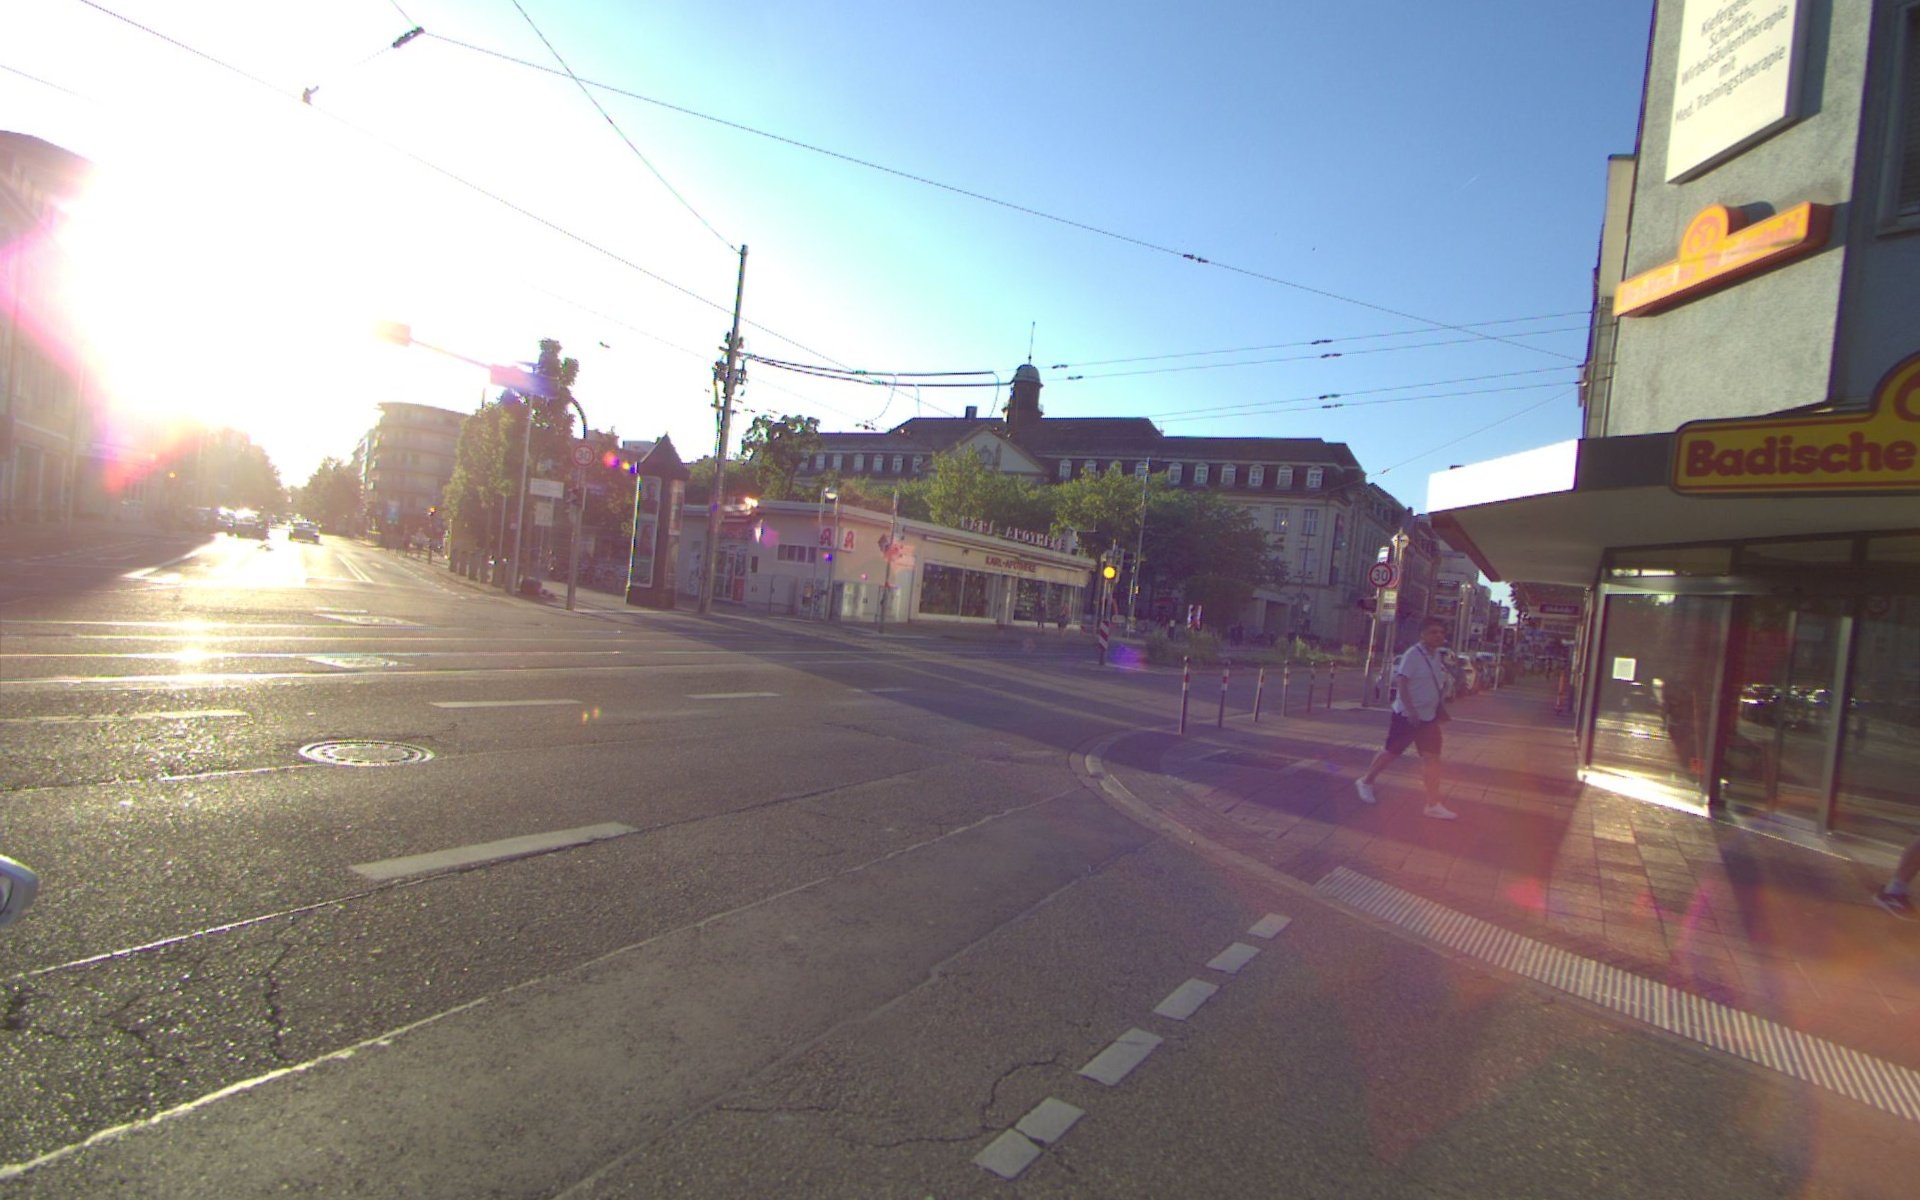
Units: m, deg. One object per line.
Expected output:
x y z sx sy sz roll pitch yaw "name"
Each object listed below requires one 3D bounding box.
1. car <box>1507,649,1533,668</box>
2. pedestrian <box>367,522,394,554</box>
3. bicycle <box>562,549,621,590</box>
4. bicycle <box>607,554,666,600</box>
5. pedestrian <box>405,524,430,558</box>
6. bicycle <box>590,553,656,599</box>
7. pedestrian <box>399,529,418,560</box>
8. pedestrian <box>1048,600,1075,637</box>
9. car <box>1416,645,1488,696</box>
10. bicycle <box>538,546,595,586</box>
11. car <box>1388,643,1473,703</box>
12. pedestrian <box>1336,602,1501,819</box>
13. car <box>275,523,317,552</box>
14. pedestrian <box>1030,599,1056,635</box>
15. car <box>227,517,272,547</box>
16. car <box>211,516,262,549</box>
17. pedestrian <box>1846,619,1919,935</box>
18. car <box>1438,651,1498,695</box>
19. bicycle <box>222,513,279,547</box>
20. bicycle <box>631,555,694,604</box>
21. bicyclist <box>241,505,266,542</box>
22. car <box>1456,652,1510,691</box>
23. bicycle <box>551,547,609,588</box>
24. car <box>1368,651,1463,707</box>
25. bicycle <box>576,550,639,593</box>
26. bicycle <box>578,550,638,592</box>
56.212 5.915 100.899 1.819 1.656 3.988 6 0 34 "car"
-35.107 -3.733 60.960 0.975 1.806 0.806 6 1 9 "pedestrian"
-15.821 -1.298 43.210 2.207 1.542 0.675 6 1 -34 "bicycle"
-12.334 -0.873 38.336 1.972 1.542 0.475 6 1 -34 "bicycle"
-33.918 -3.659 62.914 0.976 1.982 0.805 5 1 -8 "pedestrian"
-13.082 -0.936 39.073 2.207 1.542 0.675 6 1 -34 "bicycle"
-33.649 -3.393 61.410 0.794 1.809 0.989 4 1 -20 "pedestrian"
4.745 0.876 47.038 0.793 1.633 0.991 5 1 31 "pedestrian"
18.858 2.673 38.495 1.819 1.656 3.988 6 0 34 "car"
-17.828 -1.545 45.598 2.204 1.542 0.675 6 1 -30 "bicycle"
15.583 2.381 33.201 1.819 1.656 3.988 6 0 34 "car"
3.994 0.930 8.852 0.792 1.748 0.992 4 1 -7 "pedestrian"
-46.594 -4.435 70.613 2.288 1.700 5.481 6 1 -34 "car"
3.928 0.800 47.591 0.793 1.633 0.991 5 1 31 "pedestrian"
-48.988 -4.689 69.421 2.288 1.700 5.481 6 1 -34 "car"
-45.190 -4.218 62.923 2.288 1.700 5.481 6 1 -34 "car"
6.285 1.109 6.075 0.792 1.911 0.992 4 1 -7 "pedestrian"
22.989 3.290 45.491 1.819 1.656 3.988 6 0 34 "car"
-35.702 -3.521 50.621 2.190 1.420 0.680 6 1 -6 "bicycle"
-10.439 -0.708 35.367 1.972 1.542 0.474 6 1 -35 "bicycle"
-35.546 -3.837 50.622 0.657 1.729 0.680 6 1 -6 "bicyclist"
25.987 3.529 49.937 1.819 1.656 3.988 6 0 34 "car"
-16.704 -1.428 44.259 2.207 1.542 0.675 6 1 -34 "bicycle"
13.403 2.298 29.458 1.819 1.311 3.988 6 0 34 "car"
-14.460 -1.166 41.288 2.207 1.542 0.675 6 1 -34 "bicycle"
-14.873 -1.219 42.565 2.207 1.542 0.675 6 1 -34 "bicycle"
